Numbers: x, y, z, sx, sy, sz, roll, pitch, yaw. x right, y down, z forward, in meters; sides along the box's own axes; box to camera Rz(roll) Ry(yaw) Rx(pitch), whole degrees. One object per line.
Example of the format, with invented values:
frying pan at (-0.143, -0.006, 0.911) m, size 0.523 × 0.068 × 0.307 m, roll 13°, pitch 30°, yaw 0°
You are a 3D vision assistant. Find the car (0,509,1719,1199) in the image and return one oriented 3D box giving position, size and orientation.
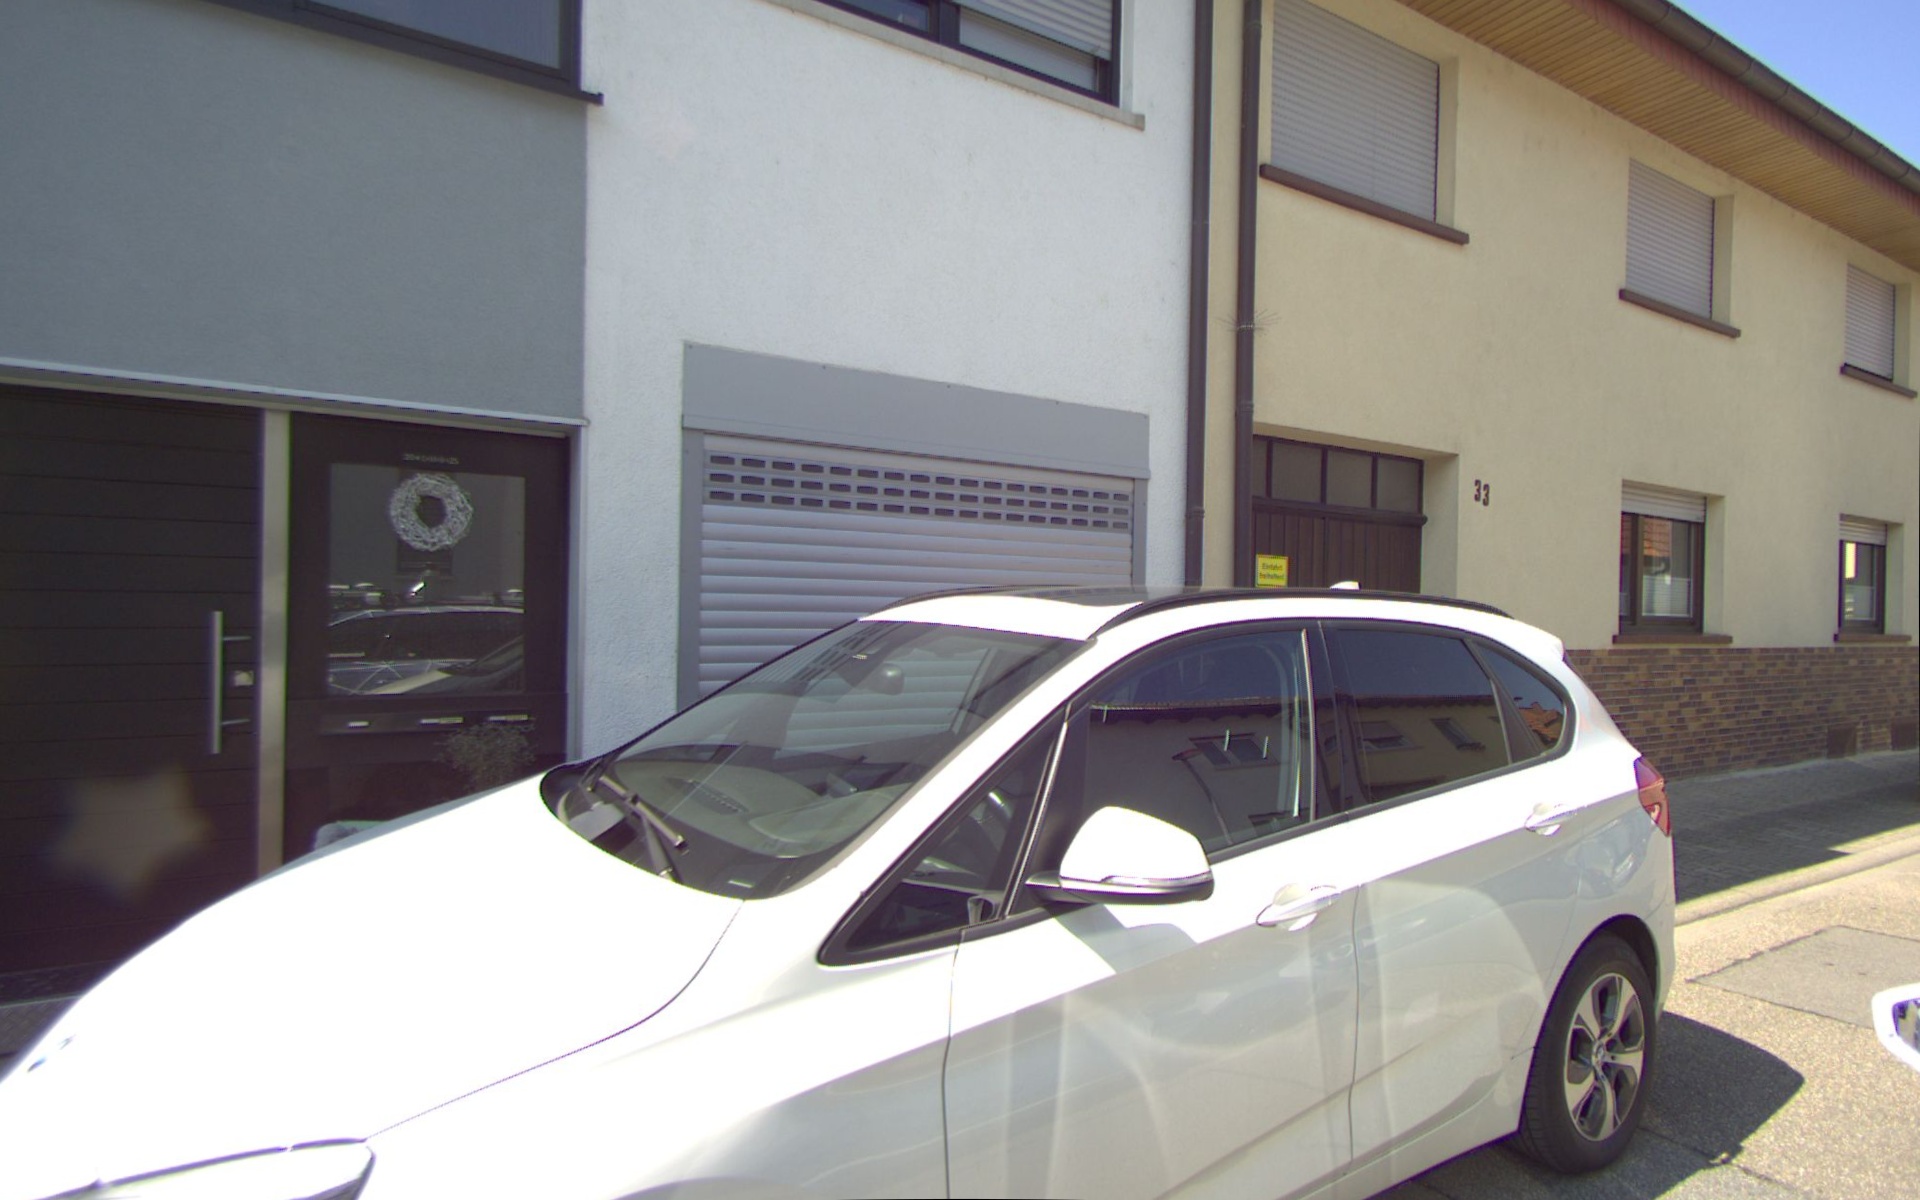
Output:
car at (0.255, 0.719, 2.687) m, size 3.900 × 1.569 × 1.653 m, roll 0°, pitch -1°, yaw -34°

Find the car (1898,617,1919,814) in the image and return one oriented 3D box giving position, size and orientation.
car at (9.578, 0.947, 8.390) m, size 3.899 × 1.558 × 1.631 m, roll 1°, pitch -1°, yaw -32°
